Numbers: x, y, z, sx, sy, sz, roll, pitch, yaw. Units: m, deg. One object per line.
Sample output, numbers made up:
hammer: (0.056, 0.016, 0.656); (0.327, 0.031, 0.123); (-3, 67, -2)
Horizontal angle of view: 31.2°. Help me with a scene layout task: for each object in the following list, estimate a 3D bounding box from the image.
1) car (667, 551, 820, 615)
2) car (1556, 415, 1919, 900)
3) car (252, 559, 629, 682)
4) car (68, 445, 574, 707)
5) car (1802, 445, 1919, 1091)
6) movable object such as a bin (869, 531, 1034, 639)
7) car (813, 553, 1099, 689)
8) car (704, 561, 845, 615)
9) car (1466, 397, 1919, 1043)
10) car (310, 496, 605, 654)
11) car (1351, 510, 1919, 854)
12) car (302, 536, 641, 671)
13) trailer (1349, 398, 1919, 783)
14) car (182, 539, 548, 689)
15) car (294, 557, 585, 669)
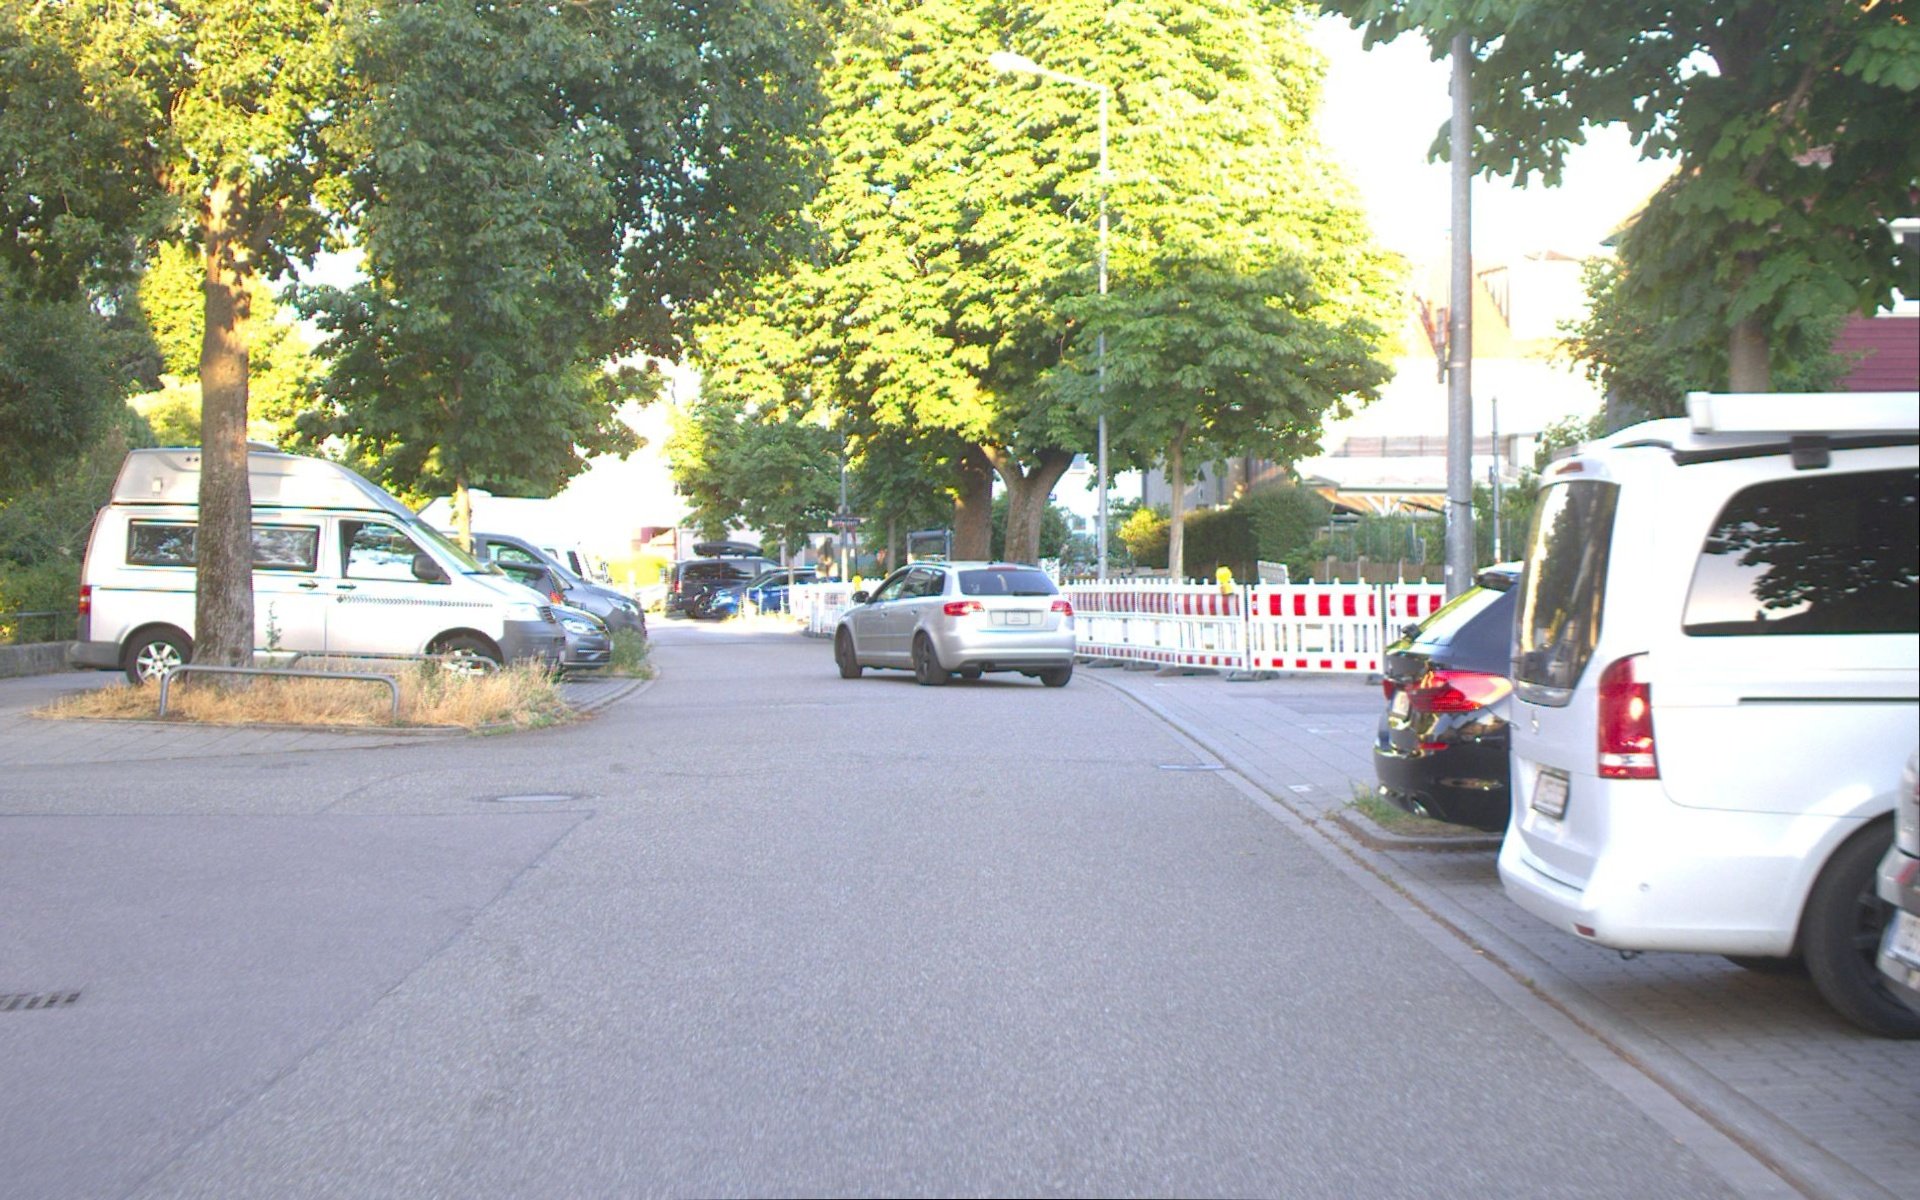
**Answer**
car: (-6.952, -0.552, 110.257); (4.555, 2.016, 2.102); (0, 0, -17)
car: (4.680, 0.209, 13.650); (4.301, 1.793, 1.904); (0, 0, 1)
car: (-6.158, 0.238, 41.044); (4.244, 1.389, 1.684); (1, 0, -1)
car: (-6.395, -0.244, 34.806); (4.731, 2.561, 2.000); (0, 0, 1)
car: (4.231, 0.393, 8.250); (3.987, 1.504, 1.776); (0, 0, 1)
movable object such as a bin: (-0.247, -0.349, 79.110); (2.627, 2.394, 5.199); (0, 1, -14)
car: (-0.108, 0.203, 39.629); (1.807, 1.483, 4.001); (0, 1, -24)
car: (-5.695, -0.369, 105.410); (3.986, 1.645, 1.765); (0, 0, -19)
car: (3.775, 0.348, 11.098); (3.987, 1.897, 2.000); (0, 0, 0)
car: (-7.840, -0.395, 53.930); (4.501, 2.422, 2.000); (0, 0, -6)
car: (4.118, 0.352, 15.872); (4.427, 1.494, 1.773); (0, 0, 1)
car: (-6.904, 0.042, 48.883); (4.672, 1.867, 2.000); (0, 1, -6)
trailer: (4.427, -0.060, 20.535); (3.987, 2.180, 2.000); (0, 0, 1)
car: (-6.580, 0.150, 38.315); (3.803, 1.517, 1.653); (2, 0, -3)
car: (-6.958, 0.169, 46.266); (3.768, 1.434, 1.656); (1, 0, -5)
